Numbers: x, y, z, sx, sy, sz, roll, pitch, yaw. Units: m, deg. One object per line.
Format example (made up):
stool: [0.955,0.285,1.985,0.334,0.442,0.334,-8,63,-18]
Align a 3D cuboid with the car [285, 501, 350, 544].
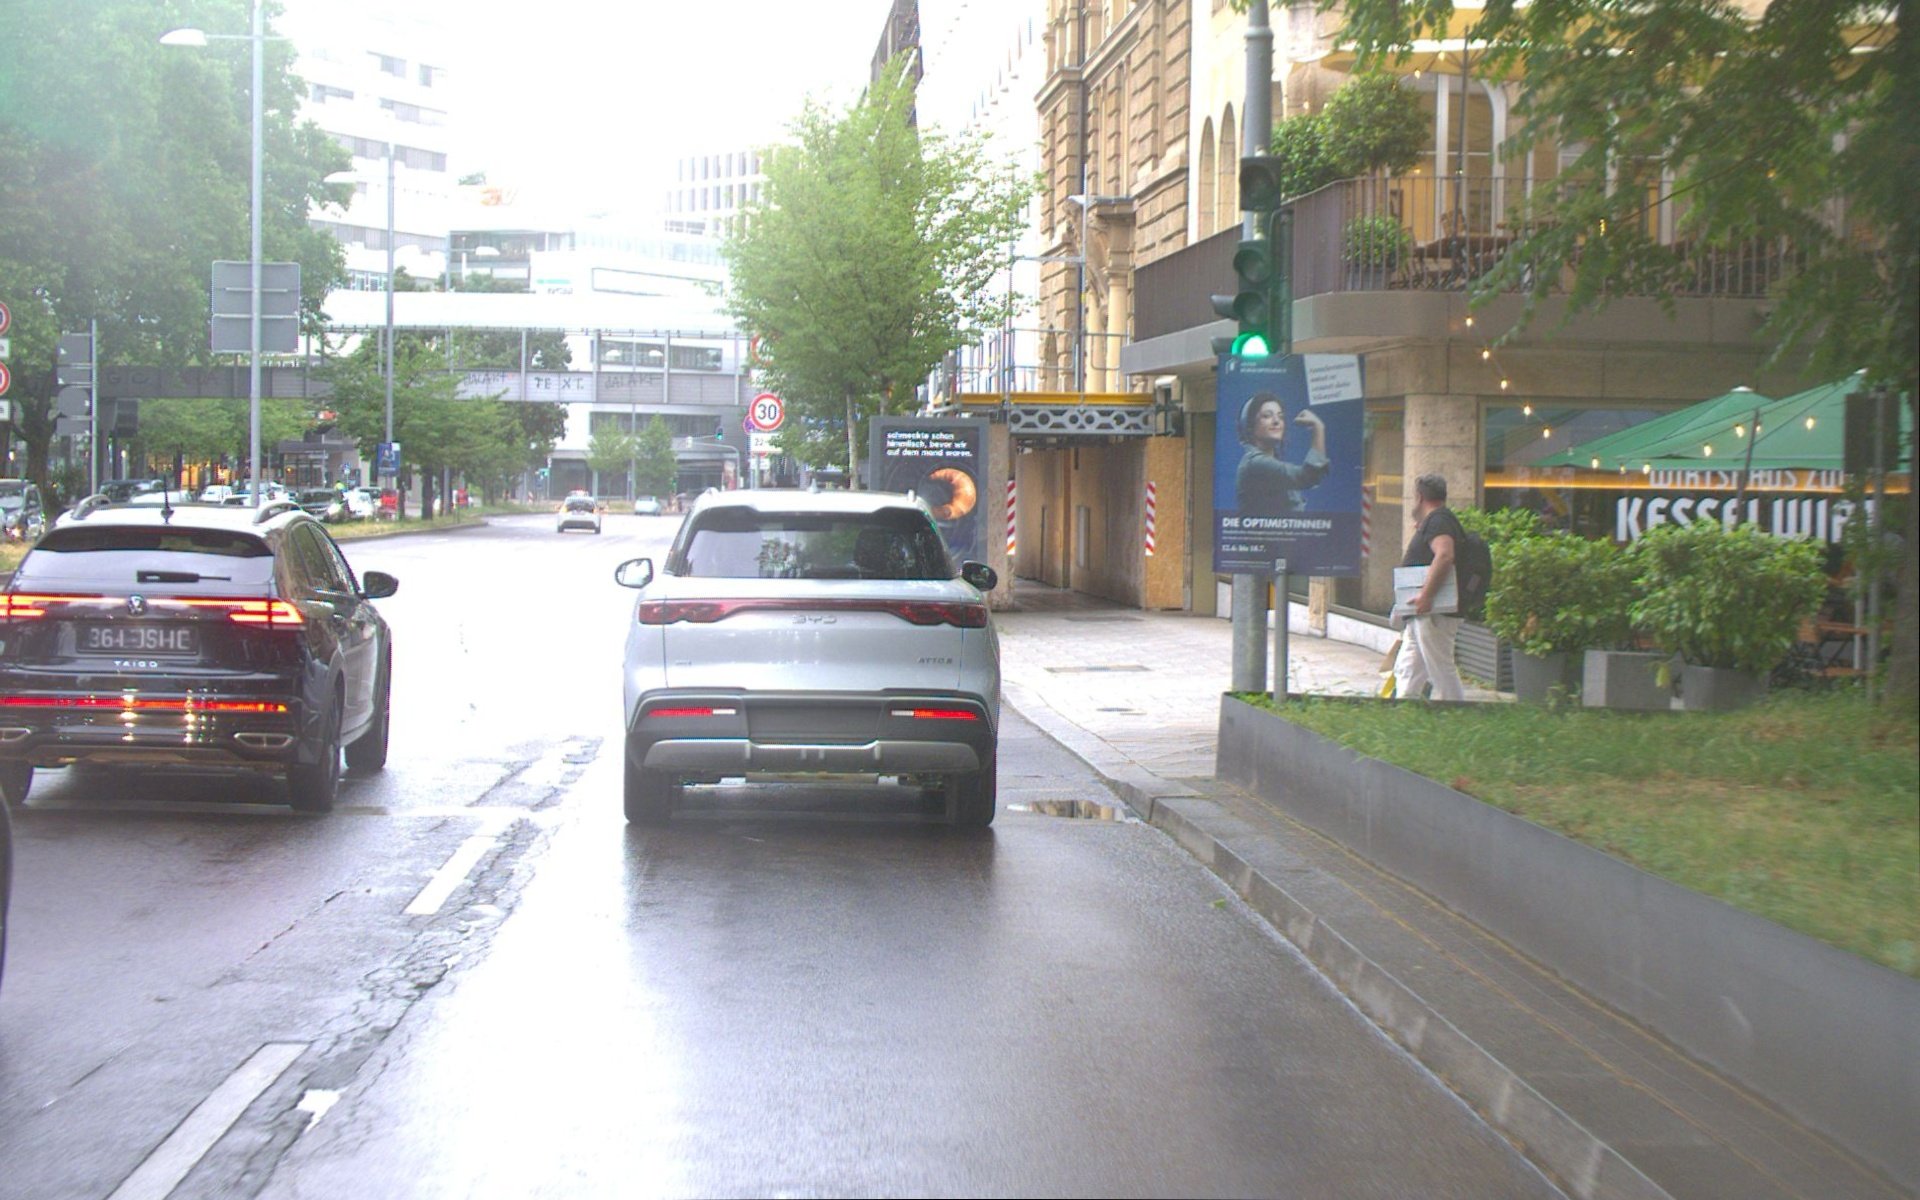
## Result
car: [-23.302,-2.808,124.762,1.794,1.505,4.346,-1,2,-4]

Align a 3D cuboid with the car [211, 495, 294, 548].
car: [-21.093,-2.360,102.629,1.794,1.505,4.501,-1,2,-4]

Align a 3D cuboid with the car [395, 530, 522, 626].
car: [-8.205,-0.392,56.562,1.691,1.458,4.346,-1,2,-4]

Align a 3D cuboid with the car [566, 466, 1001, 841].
car: [-0.840,0.198,17.913,1.947,1.660,4.346,2,1,-1]

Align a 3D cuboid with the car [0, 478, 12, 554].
car: [-19.265,-1.547,64.188,2.159,1.458,4.346,-1,2,-4]

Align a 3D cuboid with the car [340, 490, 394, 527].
car: [-25.141,-3.880,145.853,1.794,1.505,4.346,-1,2,-4]

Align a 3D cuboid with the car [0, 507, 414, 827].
car: [-3.909,0.251,17.909,1.691,1.458,4.346,0,2,-4]

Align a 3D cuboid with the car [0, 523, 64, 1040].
car: [-3.546,0.569,8.240,1.691,1.458,4.346,-1,2,-1]

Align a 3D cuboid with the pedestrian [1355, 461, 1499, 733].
pedestrian: [3.112,-0.024,22.984,0.859,1.773,0.718,1,1,2]

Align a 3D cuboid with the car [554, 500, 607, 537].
car: [-15.701,-3.375,142.256,1.978,1.458,4.346,-1,2,-4]

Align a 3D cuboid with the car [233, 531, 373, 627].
car: [-10.718,-0.377,56.291,1.691,1.458,4.346,-1,2,-4]

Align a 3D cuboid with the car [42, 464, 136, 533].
car: [-25.082,-2.926,99.100,1.794,1.903,4.501,-1,2,-4]

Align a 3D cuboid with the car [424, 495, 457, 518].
car: [-35.034,-6.285,231.991,1.794,1.505,4.346,-1,2,-4]

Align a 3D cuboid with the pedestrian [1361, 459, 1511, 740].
pedestrian: [3.067,-0.011,22.214,0.859,1.773,0.718,1,1,2]

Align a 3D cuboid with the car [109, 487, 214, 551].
car: [-19.683,-2.016,84.882,1.794,1.505,4.501,-1,2,-4]
